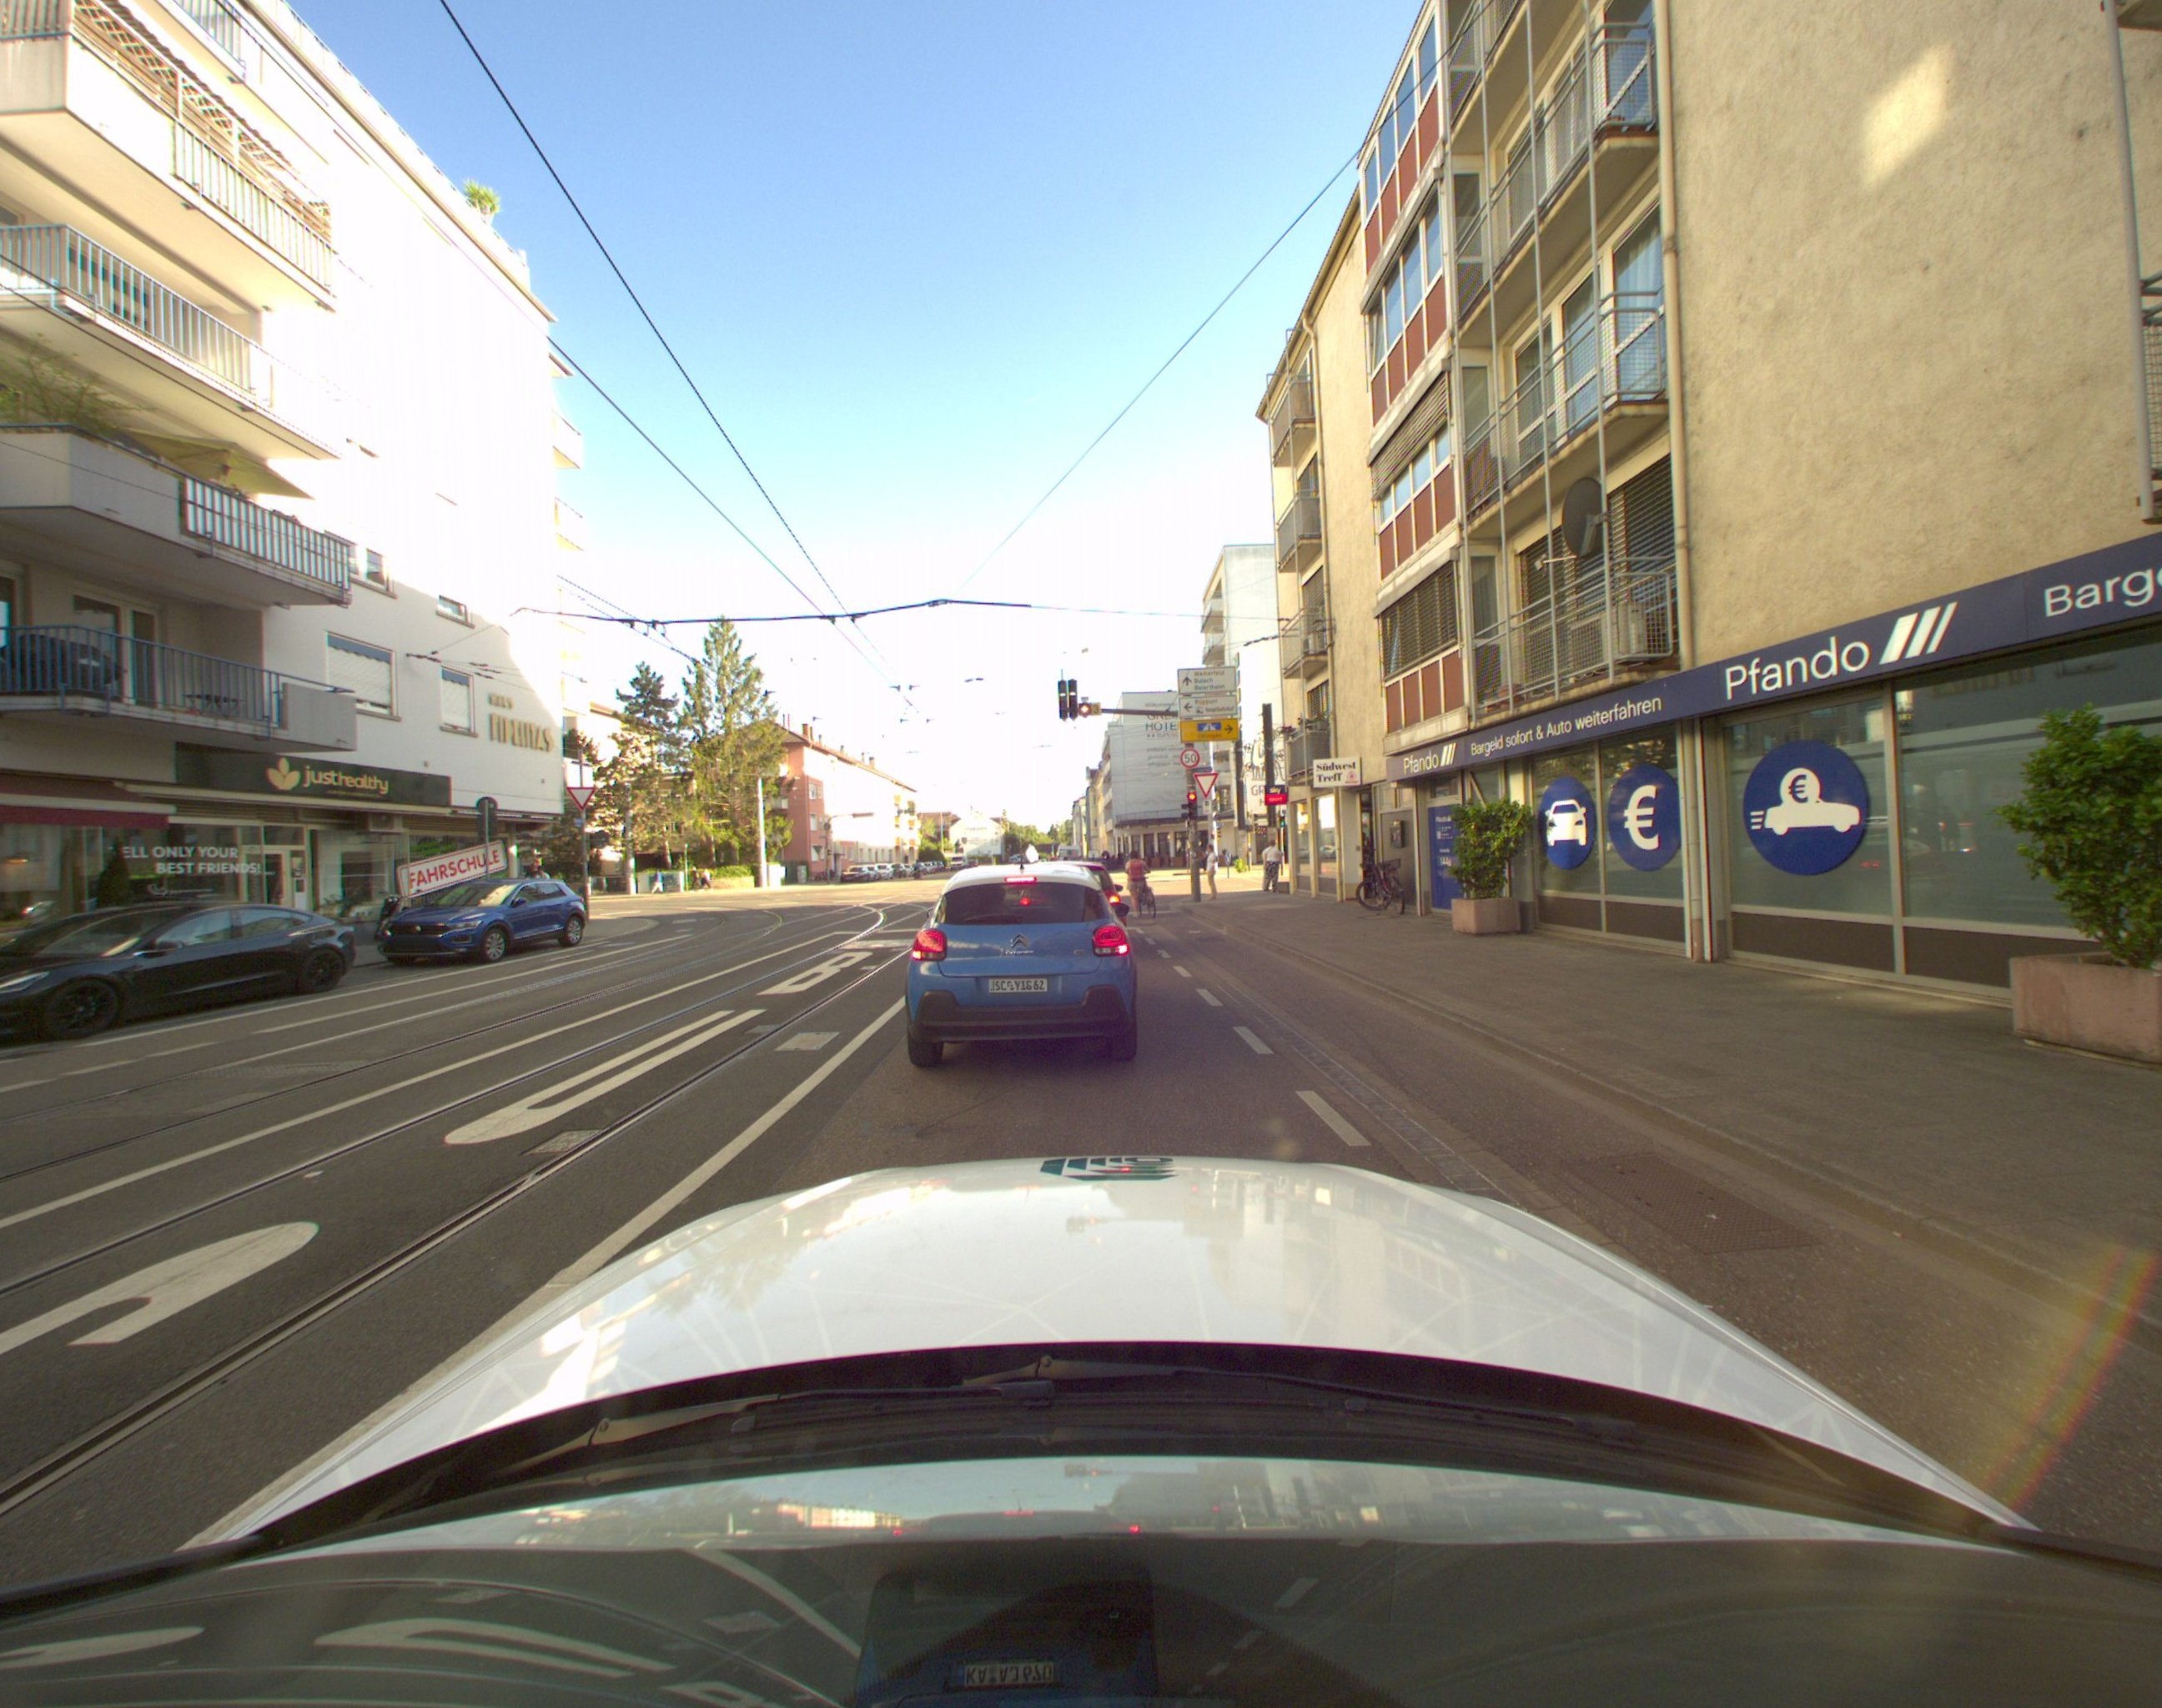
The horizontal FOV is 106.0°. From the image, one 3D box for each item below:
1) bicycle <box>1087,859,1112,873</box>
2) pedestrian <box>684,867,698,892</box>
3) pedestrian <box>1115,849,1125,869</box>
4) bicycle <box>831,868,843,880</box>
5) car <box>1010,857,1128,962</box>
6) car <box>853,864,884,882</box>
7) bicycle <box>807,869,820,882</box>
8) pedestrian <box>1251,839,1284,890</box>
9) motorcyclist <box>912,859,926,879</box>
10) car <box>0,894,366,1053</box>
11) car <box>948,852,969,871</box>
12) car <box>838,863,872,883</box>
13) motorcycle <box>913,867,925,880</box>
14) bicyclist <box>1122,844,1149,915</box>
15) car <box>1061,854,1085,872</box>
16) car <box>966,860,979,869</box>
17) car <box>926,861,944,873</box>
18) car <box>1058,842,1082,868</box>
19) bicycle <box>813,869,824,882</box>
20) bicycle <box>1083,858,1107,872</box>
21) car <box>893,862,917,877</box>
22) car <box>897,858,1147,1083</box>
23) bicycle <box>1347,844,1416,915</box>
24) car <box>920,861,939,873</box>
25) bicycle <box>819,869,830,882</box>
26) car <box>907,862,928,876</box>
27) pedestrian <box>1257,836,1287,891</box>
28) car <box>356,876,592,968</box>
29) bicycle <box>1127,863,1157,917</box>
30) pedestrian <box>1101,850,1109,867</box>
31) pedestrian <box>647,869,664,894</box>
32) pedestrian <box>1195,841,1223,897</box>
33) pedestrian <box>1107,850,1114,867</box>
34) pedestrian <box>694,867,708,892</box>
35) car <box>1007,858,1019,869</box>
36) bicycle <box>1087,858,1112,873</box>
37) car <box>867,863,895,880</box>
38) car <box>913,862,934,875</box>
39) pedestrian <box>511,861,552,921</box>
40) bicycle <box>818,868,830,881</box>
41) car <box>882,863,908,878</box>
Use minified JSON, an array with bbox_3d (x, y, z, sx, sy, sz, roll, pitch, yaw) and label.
[{"bbox_3d":[1.526,0.953,67.257,1.901,1.064,0.641,-2,0,-6],"label":"bicycle"},{"bbox_3d":[-27.097,1.789,56.596,0.812,1.702,0.629,-2,0,-22],"label":"pedestrian"},{"bbox_3d":[3.359,0.413,70.238,0.558,1.647,0.532,-2,0,-42],"label":"pedestrian"},{"bbox_3d":[-22.717,1.855,75.815,0.608,1.082,1.908,-2,0,-4],"label":"bicycle"},{"bbox_3d":[-0.219,0.809,13.723,1.675,1.462,3.997,-1,0,-2],"label":"car"},{"bbox_3d":[-19.571,1.712,75.256,1.947,1.519,4.040,-2,0,-4],"label":"car"},{"bbox_3d":[-22.379,1.789,68.090,0.640,1.082,1.905,-2,0,-9],"label":"bicycle"},{"bbox_3d":[6.228,0.340,27.265,0.705,1.647,0.732,-2,0,-34],"label":"pedestrian"},{"bbox_3d":[-13.473,1.264,67.707,0.990,1.631,0.737,-2,0,-7],"label":"motorcyclist"},{"bbox_3d":[-11.976,1.331,10.436,1.720,1.403,4.486,0,0,-2],"label":"car"},{"bbox_3d":[-18.132,1.093,120.589,2.489,2.712,5.828,-2,0,-5],"label":"car"},{"bbox_3d":[-19.290,1.596,69.633,1.947,1.519,3.995,-2,0,-4],"label":"car"},{"bbox_3d":[-13.483,1.592,67.775,0.751,0.976,2.092,-2,0,-7],"label":"motorcycle"},{"bbox_3d":[1.375,0.630,20.709,0.598,1.746,1.084,-2,0,2],"label":"bicyclist"},{"bbox_3d":[-0.715,0.735,68.001,1.783,1.359,3.909,-2,0,-4],"label":"car"},{"bbox_3d":[-19.346,1.803,145.257,1.947,1.519,3.995,-2,0,-4],"label":"car"},{"bbox_3d":[-20.730,1.842,115.696,1.947,1.519,3.995,-2,0,-4],"label":"car"},{"bbox_3d":[-1.039,0.078,73.462,2.074,2.269,5.647,-1,0,-2],"label":"car"},{"bbox_3d":[-21.973,1.790,68.200,0.537,1.082,1.905,-2,0,-9],"label":"bicycle"},{"bbox_3d":[1.160,0.945,68.460,1.901,1.064,0.641,-2,0,-6],"label":"bicycle"},{"bbox_3d":[-19.983,1.783,92.609,1.947,1.519,3.995,-2,0,-4],"label":"car"},{"bbox_3d":[-0.444,0.790,7.515,1.675,1.462,3.997,-1,0,-2],"label":"car"},{"bbox_3d":[5.765,0.454,15.755,0.637,1.264,1.911,-2,0,2],"label":"bicycle"},{"bbox_3d":[-20.302,1.764,109.341,1.947,1.519,3.995,-2,0,-4],"label":"car"},{"bbox_3d":[-21.595,1.789,68.485,0.537,1.082,1.905,-2,0,-9],"label":"bicycle"},{"bbox_3d":[-19.854,1.777,99.038,1.947,1.519,3.995,-2,0,-4],"label":"car"},{"bbox_3d":[5.964,0.292,25.390,0.731,1.647,0.757,-2,0,21],"label":"pedestrian"},{"bbox_3d":[-11.872,1.244,16.339,1.720,1.505,4.113,0,0,-2],"label":"car"},{"bbox_3d":[1.539,0.884,20.742,0.611,1.264,1.911,-2,0,2],"label":"bicycle"},{"bbox_3d":[2.079,0.389,70.335,0.520,1.420,0.550,-3,0,22],"label":"pedestrian"},{"bbox_3d":[-29.456,1.897,56.357,0.810,1.702,0.677,-2,0,-15],"label":"pedestrian"},{"bbox_3d":[3.845,0.450,24.431,0.747,1.635,0.742,-2,0,7],"label":"pedestrian"},{"bbox_3d":[2.524,0.371,70.133,0.467,1.420,0.524,-2,0,-11],"label":"pedestrian"},{"bbox_3d":[-26.234,1.739,56.232,0.812,1.702,0.602,-2,0,-22],"label":"pedestrian"},{"bbox_3d":[-14.277,1.962,171.424,2.333,2.039,5.044,-2,0,-4],"label":"car"},{"bbox_3d":[1.517,0.923,65.951,1.901,1.064,0.641,-2,0,-6],"label":"bicycle"},{"bbox_3d":[-19.560,1.678,79.868,1.947,1.519,3.995,-2,0,-4],"label":"car"},{"bbox_3d":[-20.101,1.792,104.052,1.947,1.519,3.995,-2,0,-4],"label":"car"},{"bbox_3d":[-17.282,1.169,25.609,0.761,1.834,0.725,-3,0,28],"label":"pedestrian"},{"bbox_3d":[-23.050,1.838,73.119,0.536,1.082,1.908,-2,0,-4],"label":"bicycle"},{"bbox_3d":[-19.731,1.733,86.541,1.947,1.519,3.995,-2,0,-4],"label":"car"}]
